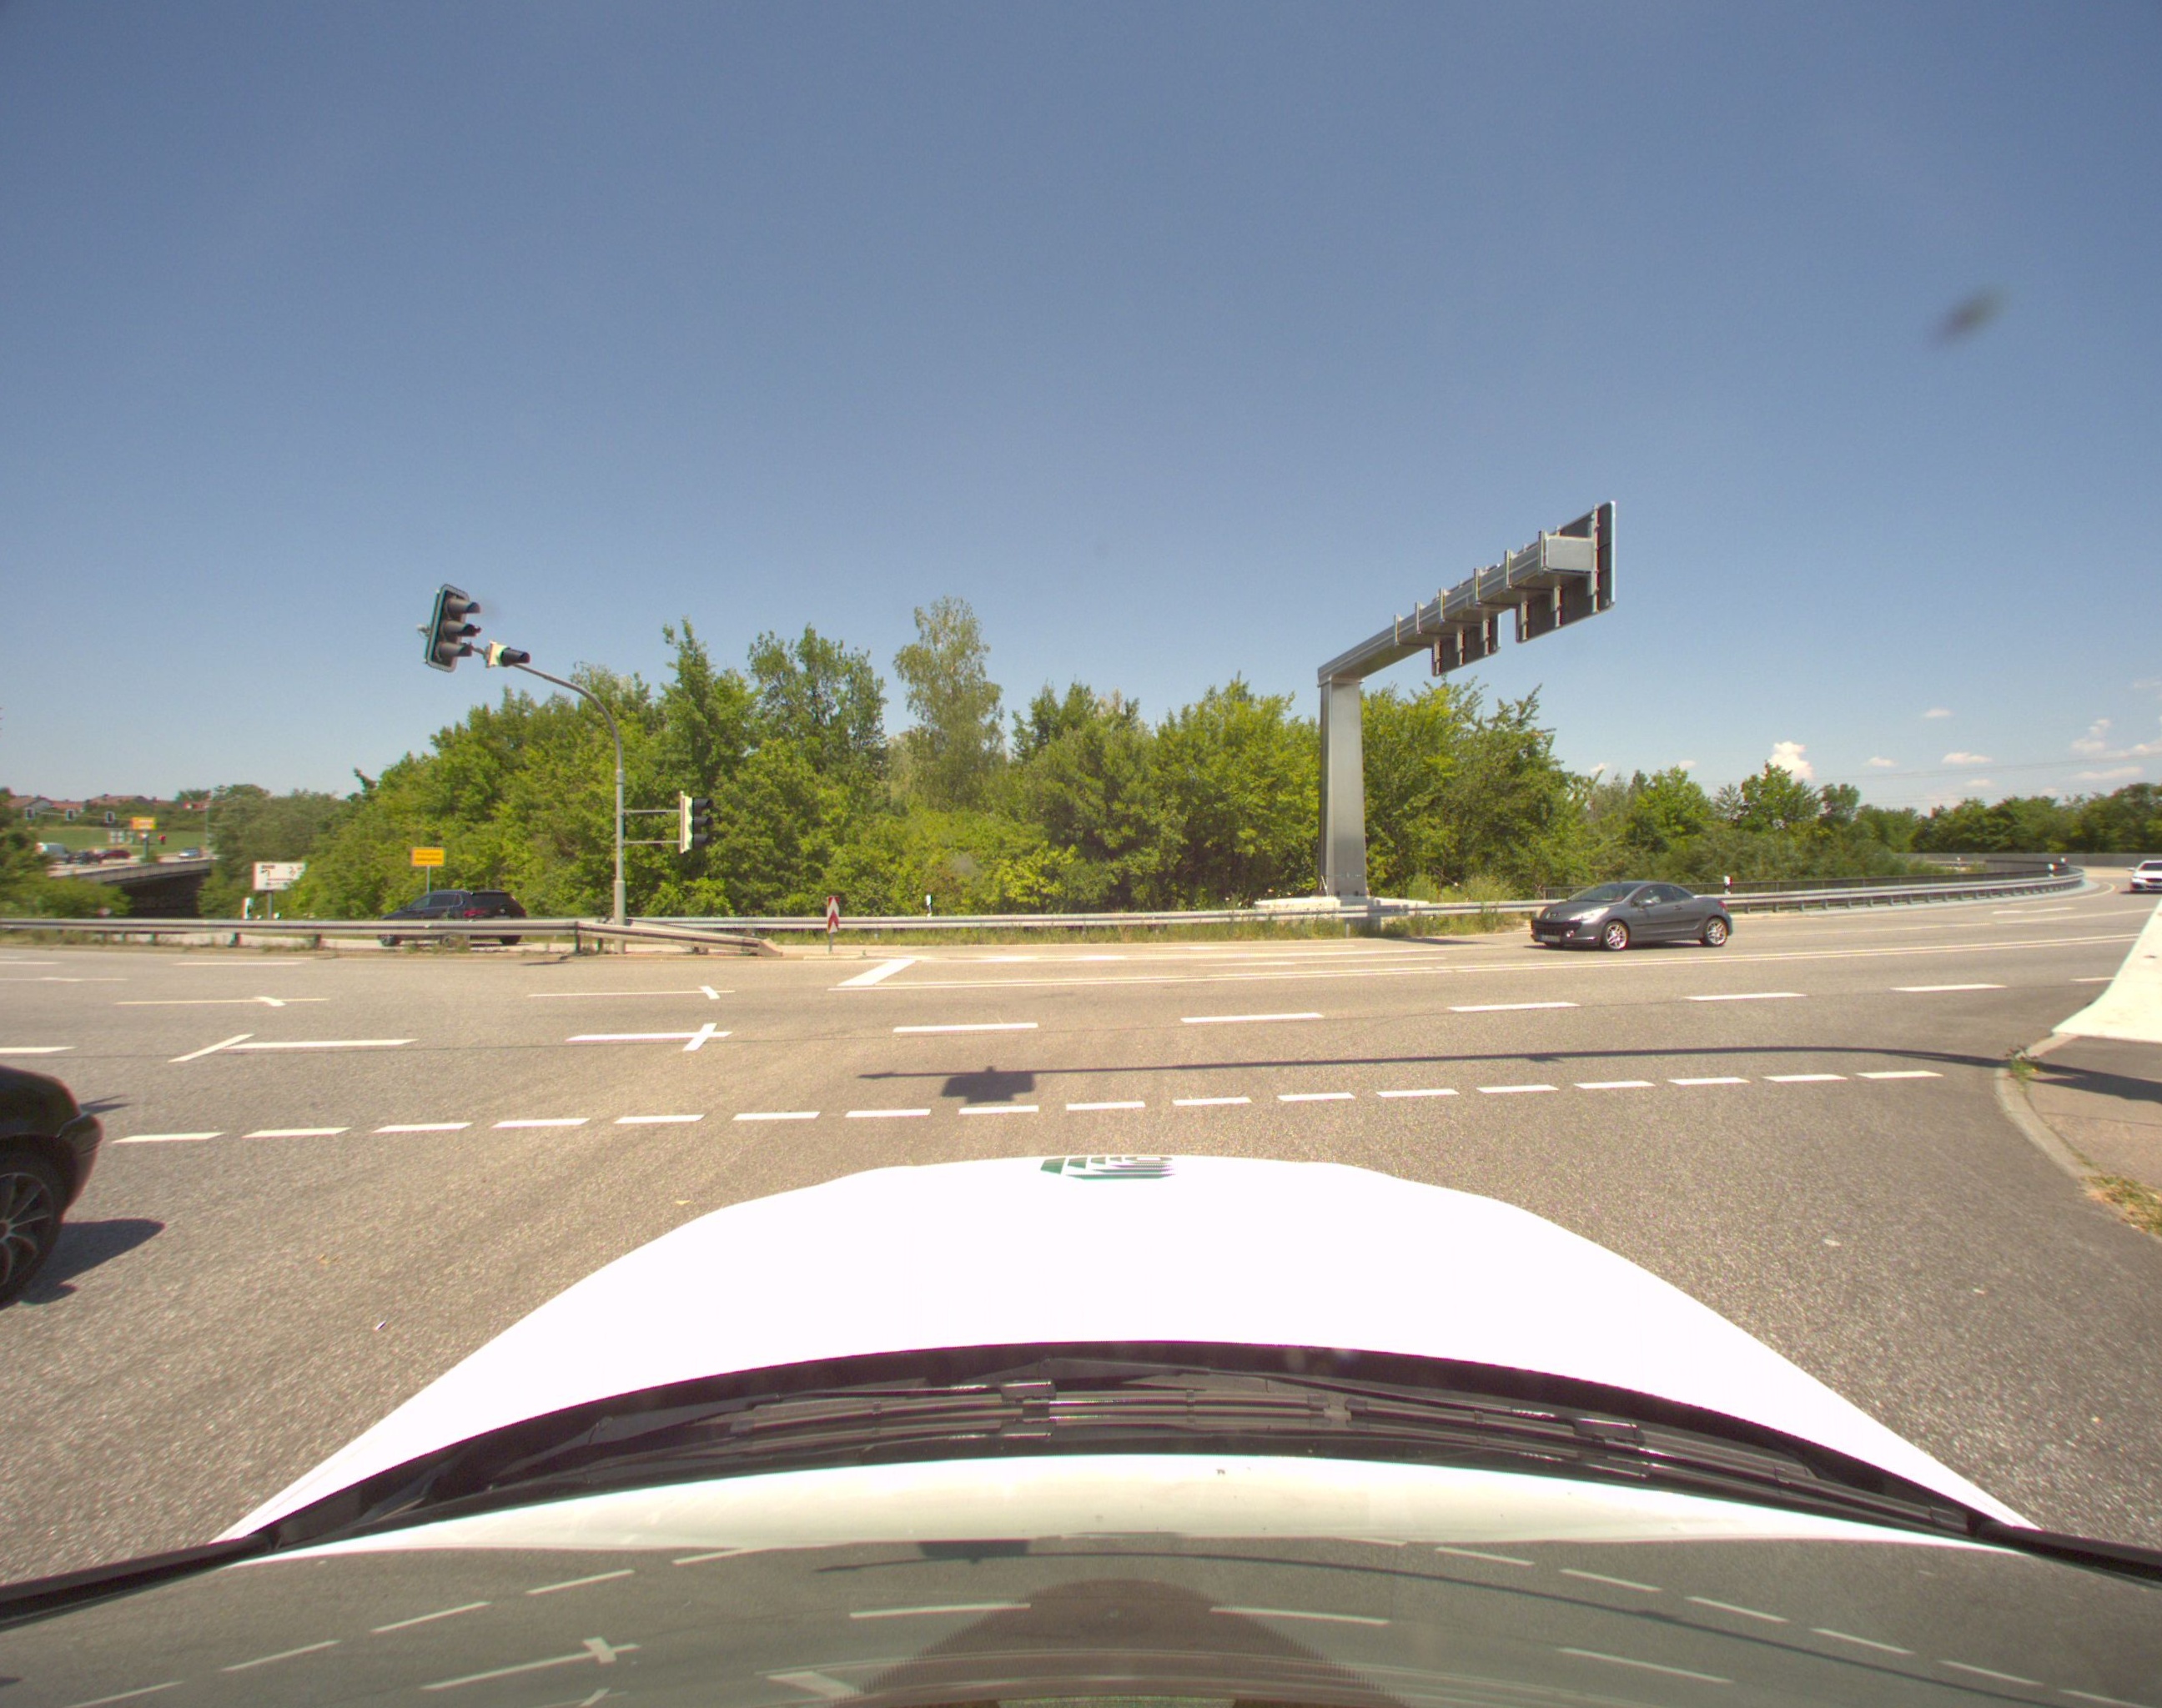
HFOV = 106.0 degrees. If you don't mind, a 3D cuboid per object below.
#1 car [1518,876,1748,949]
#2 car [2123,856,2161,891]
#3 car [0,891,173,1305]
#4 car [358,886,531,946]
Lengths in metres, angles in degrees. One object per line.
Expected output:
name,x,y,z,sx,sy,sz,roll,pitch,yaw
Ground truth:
car,11.430,1.192,16.944,3.958,1.352,1.644,0,-4,-12
car,48.698,0.862,36.740,4.862,1.485,1.822,1,-4,-40
car,-4.352,0.816,1.626,1.619,1.407,3.290,0,-2,-9
car,-18.570,1.834,23.805,4.226,1.632,1.913,-2,-5,19
